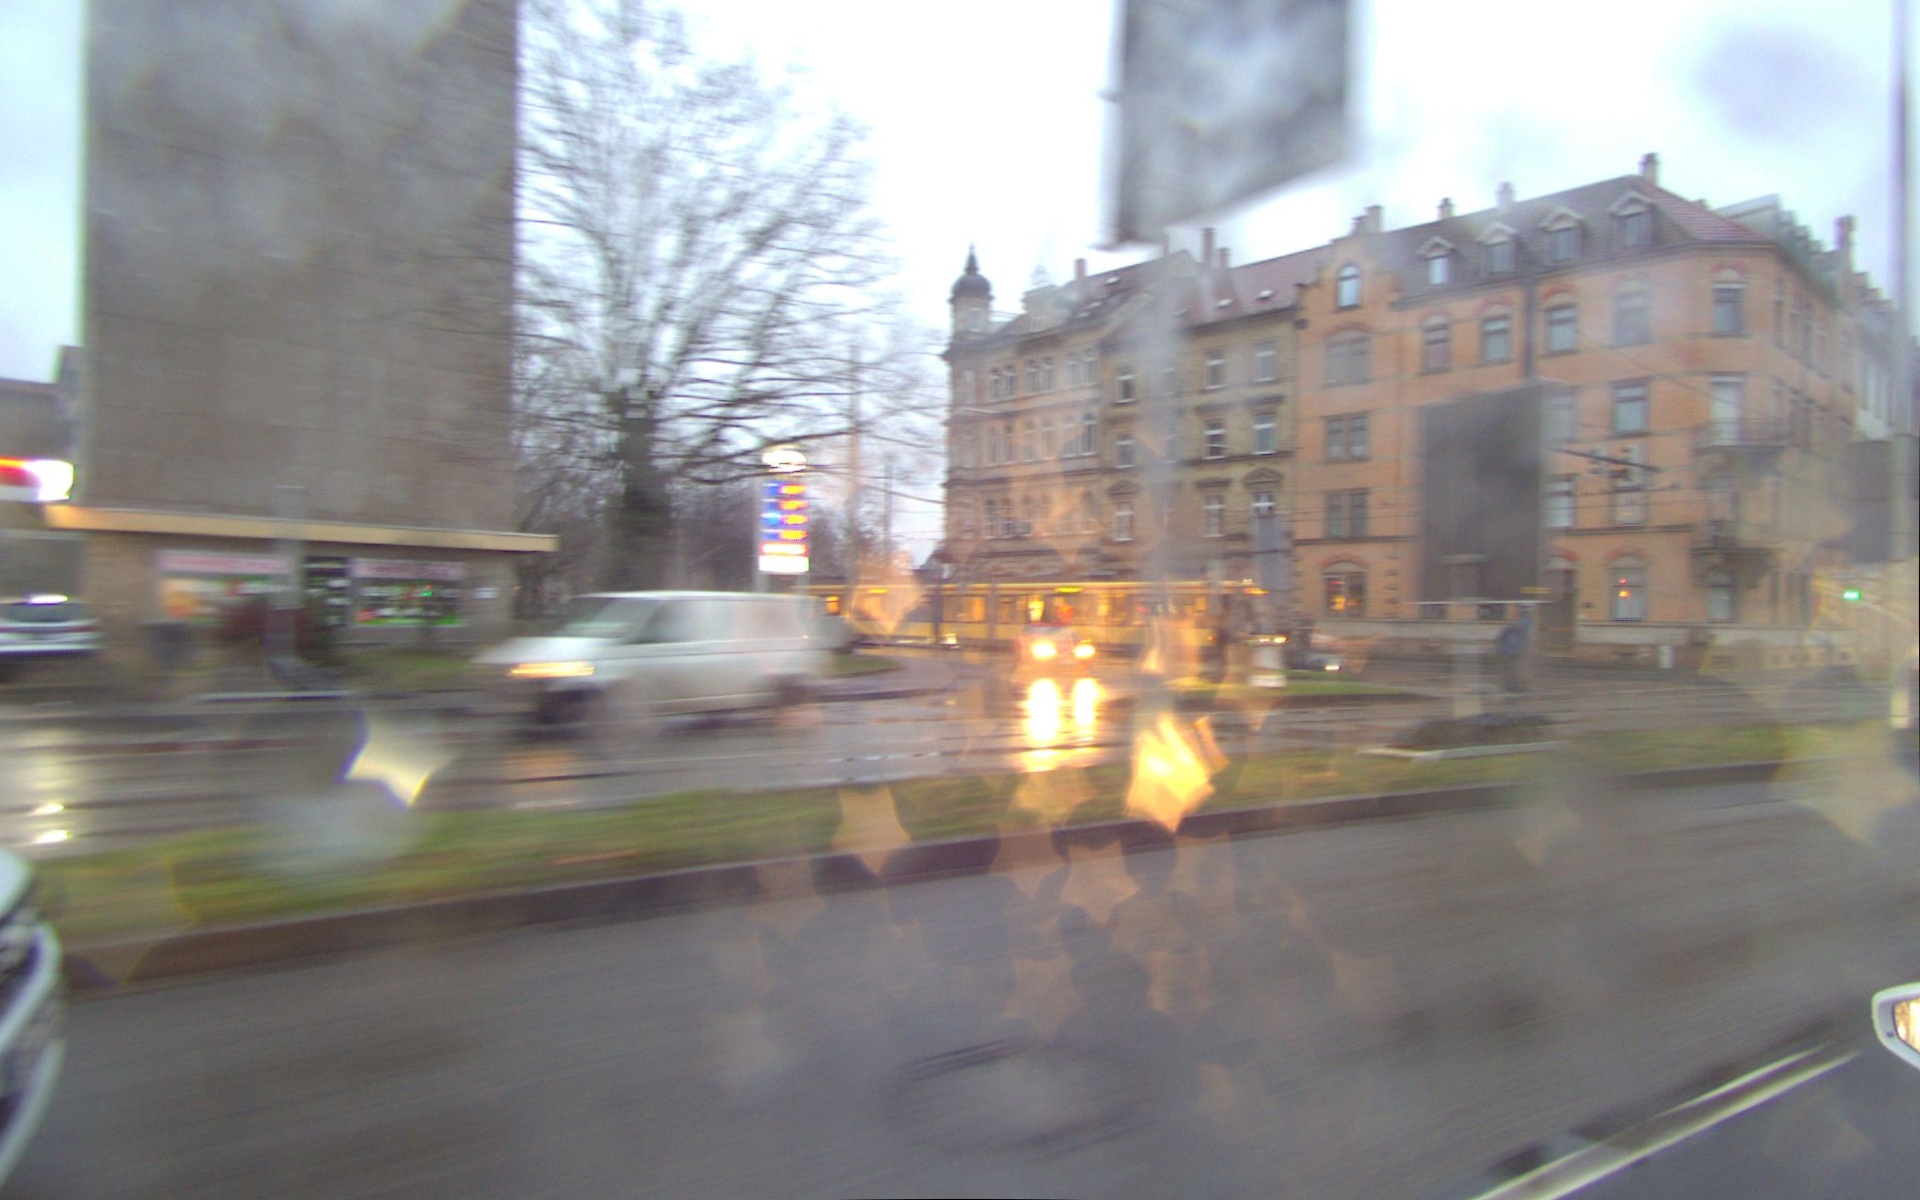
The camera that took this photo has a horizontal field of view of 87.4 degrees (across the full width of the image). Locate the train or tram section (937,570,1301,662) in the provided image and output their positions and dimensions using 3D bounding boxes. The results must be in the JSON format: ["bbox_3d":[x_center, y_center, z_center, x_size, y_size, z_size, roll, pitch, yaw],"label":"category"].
[{"bbox_3d":[5.934,0.433,42.399,16.075,3.231,3.152,2,0,43],"label":"train or tram section"}]

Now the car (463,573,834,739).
[{"bbox_3d":[-4.255,0.772,14.462,1.970,1.971,4.832,-2,-3,40],"label":"car"}]

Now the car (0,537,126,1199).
[{"bbox_3d":[-3.659,0.622,1.156,3.957,1.507,1.617,1,-1,-33],"label":"car"}]

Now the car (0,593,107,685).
[{"bbox_3d":[-17.127,0.669,18.553,1.768,1.550,3.947,2,-1,-45],"label":"car"}]

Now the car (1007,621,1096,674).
[{"bbox_3d":[2.735,1.416,30.926,1.621,1.469,3.842,2,-1,-13],"label":"car"}]

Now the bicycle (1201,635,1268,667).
[{"bbox_3d":[8.539,1.573,31.220,1.947,0.912,0.506,1,0,24],"label":"bicycle"}]

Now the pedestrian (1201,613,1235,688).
[{"bbox_3d":[6.423,1.247,25.023,0.618,1.816,0.530,1,0,39],"label":"pedestrian"}]

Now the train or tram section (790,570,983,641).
[{"bbox_3d":[-4.027,0.166,51.559,10.991,3.280,3.152,2,0,43],"label":"train or tram section"}]

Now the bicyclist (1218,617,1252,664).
[{"bbox_3d":[8.548,1.259,31.216,0.950,1.409,0.506,1,0,24],"label":"bicyclist"}]

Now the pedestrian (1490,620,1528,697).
[{"bbox_3d":[12.955,1.370,23.701,0.619,1.795,0.466,2,0,-18],"label":"pedestrian"}]

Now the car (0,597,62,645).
[{"bbox_3d":[-31.759,0.682,33.956,1.985,1.550,3.952,2,-1,-41],"label":"car"}]
